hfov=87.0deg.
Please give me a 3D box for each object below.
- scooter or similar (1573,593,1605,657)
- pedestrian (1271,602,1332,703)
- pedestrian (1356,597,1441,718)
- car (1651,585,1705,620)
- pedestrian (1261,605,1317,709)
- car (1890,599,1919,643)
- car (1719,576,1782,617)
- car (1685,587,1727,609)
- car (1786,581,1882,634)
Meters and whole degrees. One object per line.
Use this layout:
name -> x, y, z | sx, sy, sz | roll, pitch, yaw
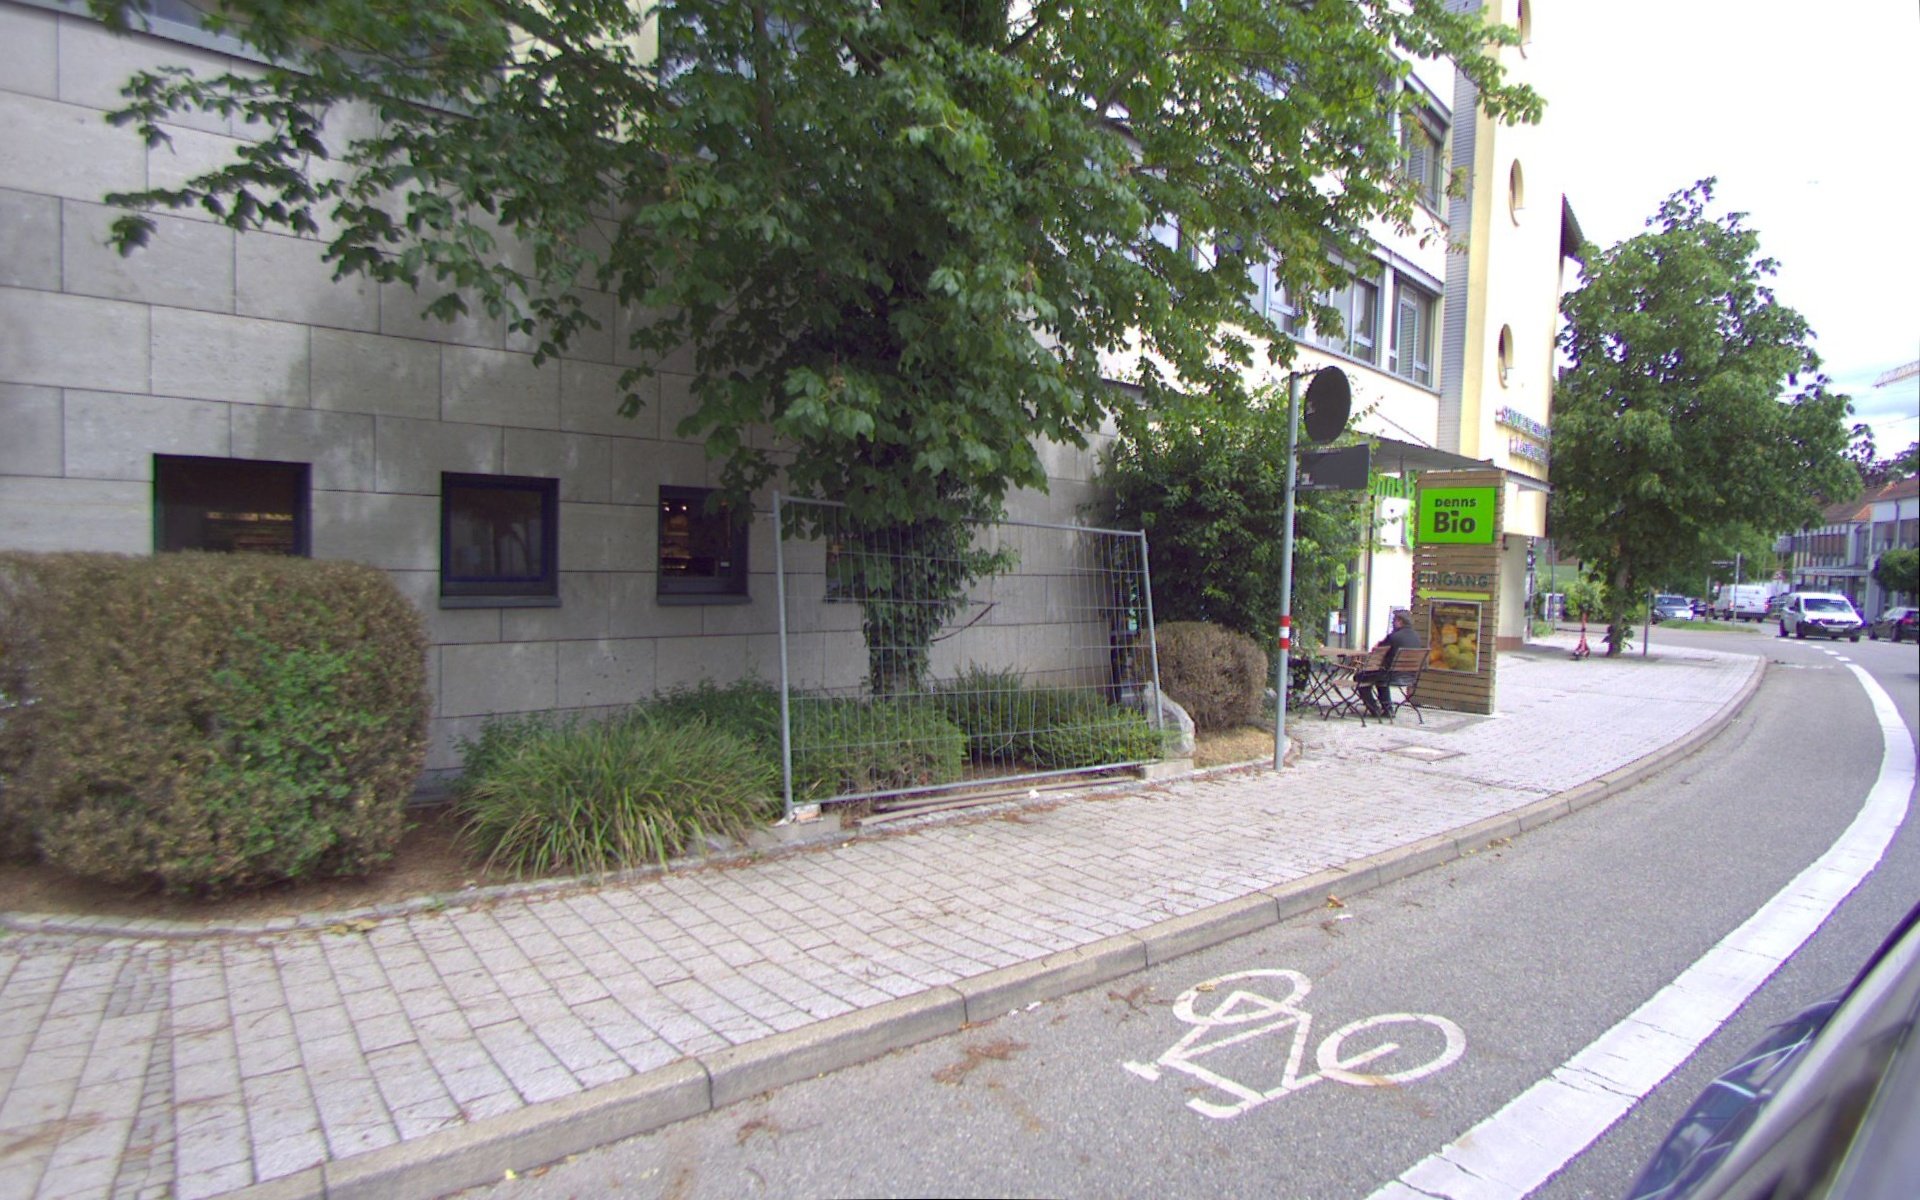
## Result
scooter or similar -> 13.907, 0.531, 22.367 | 0.380, 1.332, 1.438 | 2, 3, 40
pedestrian -> 4.368, 0.649, 12.943 | 0.577, 1.218, 0.495 | 2, 2, 44
pedestrian -> 5.115, 0.649, 11.817 | 0.567, 1.332, 0.692 | -1, 2, -30
car -> 37.754, 0.100, 53.278 | 1.680, 1.687, 4.418 | 3, 2, 28
pedestrian -> 3.988, 0.670, 12.265 | 0.519, 1.196, 0.496 | 2, 2, 33
car -> 36.652, 0.836, 38.175 | 1.683, 1.499, 4.173 | 7, 5, 35
car -> 51.055, -0.245, 65.469 | 2.051, 2.381, 5.135 | 6, 3, 26
car -> 56.320, -0.171, 76.486 | 1.760, 1.442, 4.072 | 5, 4, 26
car -> 33.660, 0.243, 39.115 | 1.950, 1.829, 4.384 | 1, 2, 30
